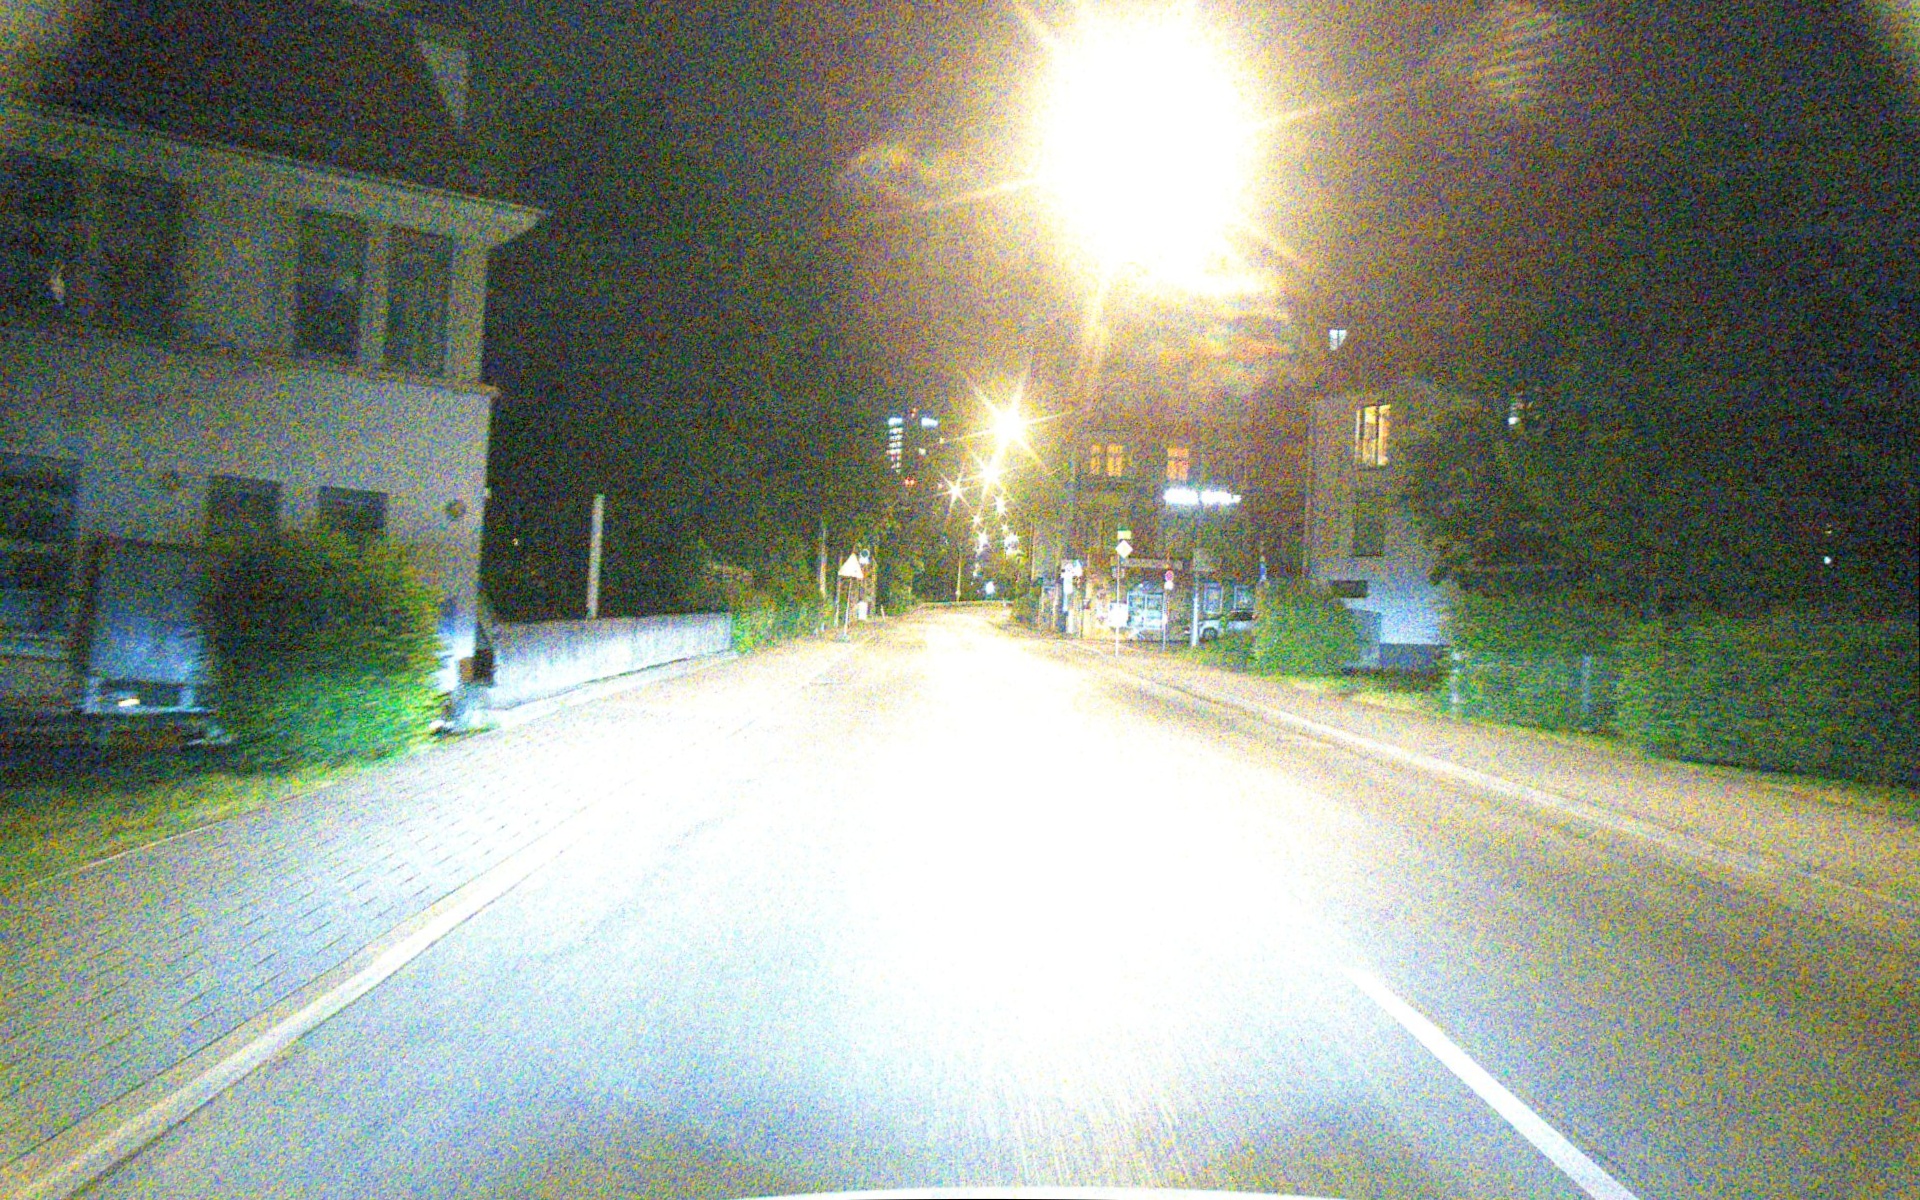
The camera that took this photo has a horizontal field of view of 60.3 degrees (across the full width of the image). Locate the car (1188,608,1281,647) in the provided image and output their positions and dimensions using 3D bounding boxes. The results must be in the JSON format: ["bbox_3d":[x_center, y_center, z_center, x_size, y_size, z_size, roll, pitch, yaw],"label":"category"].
[{"bbox_3d":[12.308,1.237,74.312,3.762,1.571,1.807,2,0,-4],"label":"car"}]
